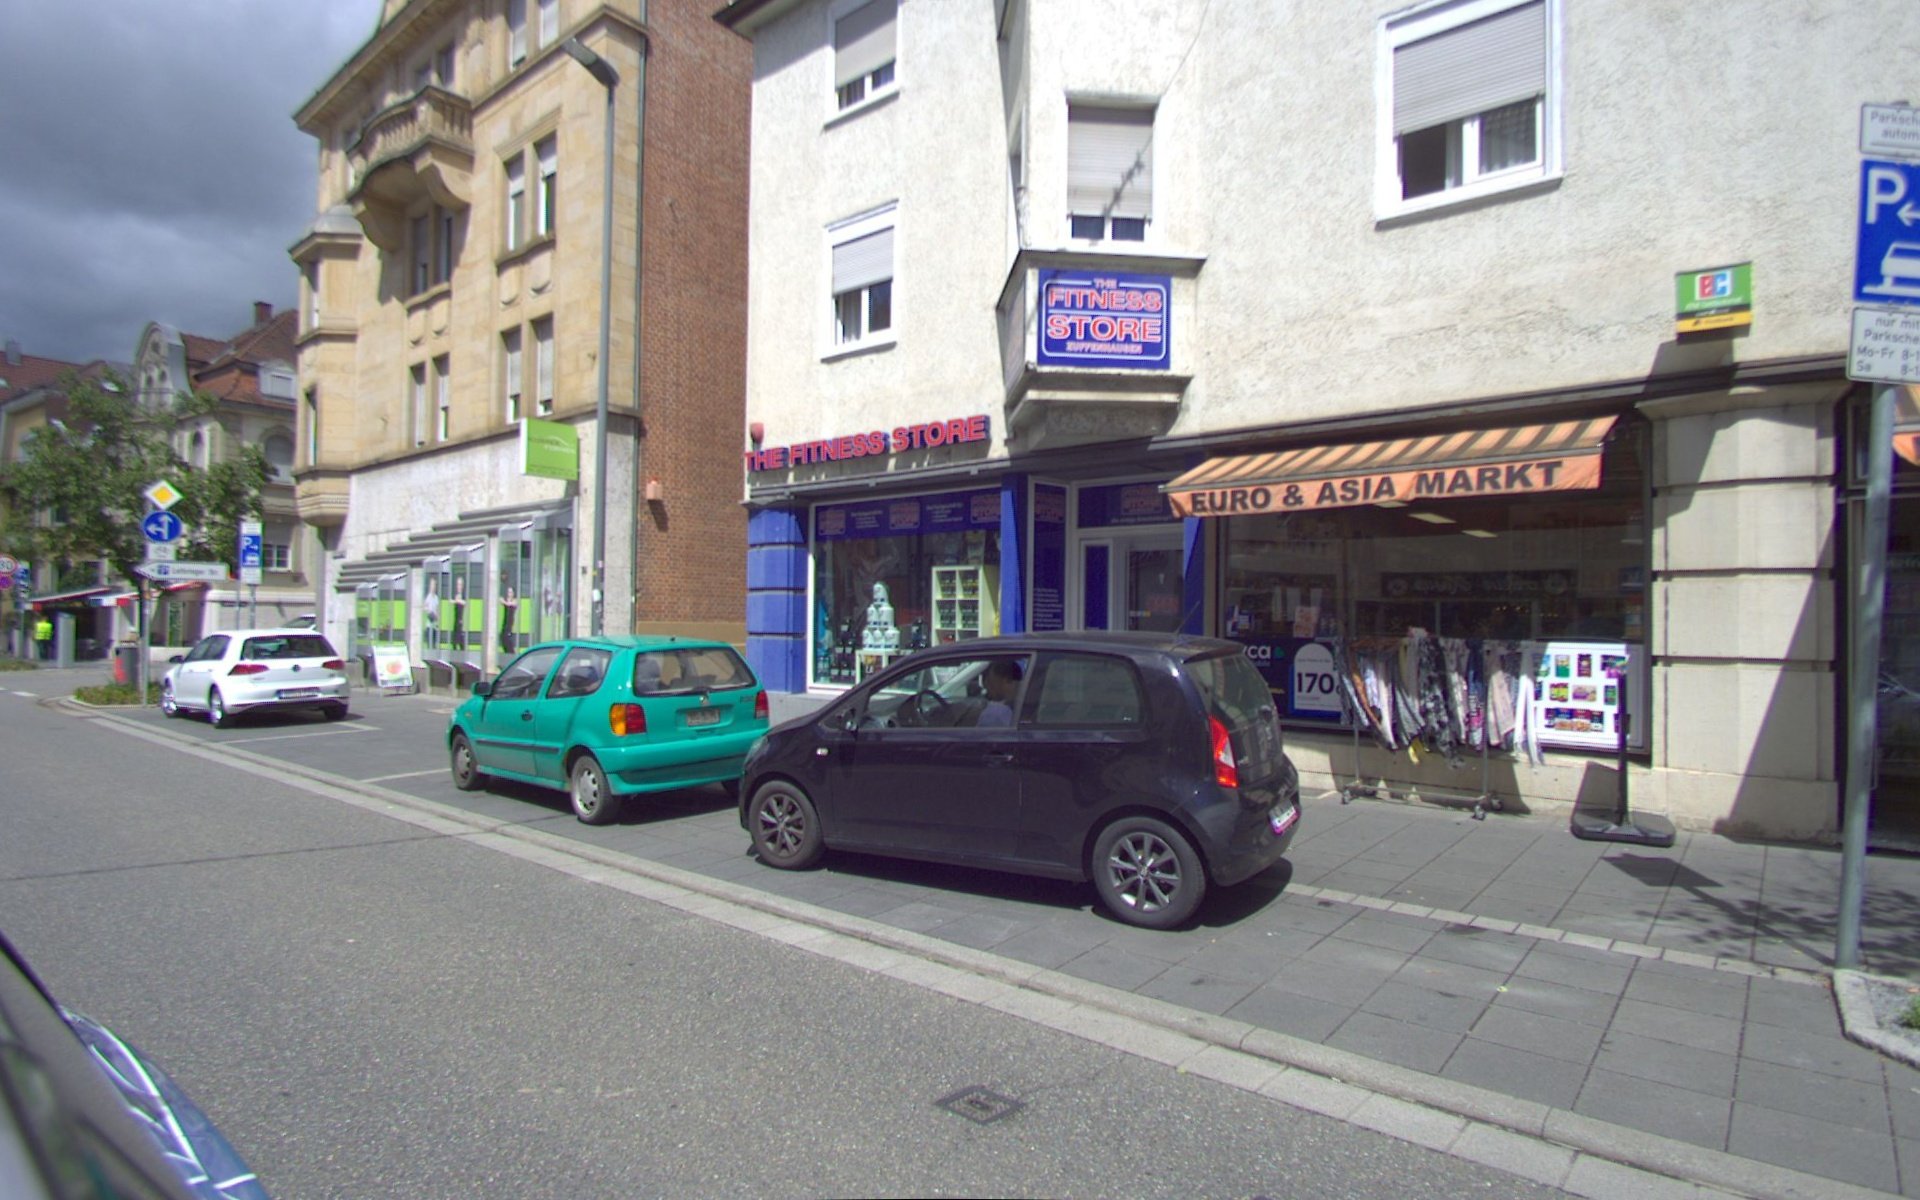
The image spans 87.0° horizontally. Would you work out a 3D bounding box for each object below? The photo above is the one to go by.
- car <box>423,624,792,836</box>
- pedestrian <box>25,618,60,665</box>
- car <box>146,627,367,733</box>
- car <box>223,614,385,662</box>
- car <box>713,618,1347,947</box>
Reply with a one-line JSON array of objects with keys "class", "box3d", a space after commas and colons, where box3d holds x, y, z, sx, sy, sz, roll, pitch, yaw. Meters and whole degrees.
[{"class": "car", "box3d": [-3.271, 0.966, 9.043, 3.668, 1.425, 1.569, 0, 0, 42]}, {"class": "pedestrian", "box3d": [-35.118, 1.570, 38.752, 0.810, 1.770, 0.792, 0, 0, 32]}, {"class": "car", "box3d": [-11.456, 1.186, 16.398, 4.031, 1.408, 1.828, 0, 0, 38]}, {"class": "car", "box3d": [-22.281, 1.254, 34.579, 1.985, 1.391, 4.359, -1, 1, 20]}, {"class": "car", "box3d": [0.348, 0.899, 6.222, 3.544, 1.457, 1.585, -2, -1, 32]}]
